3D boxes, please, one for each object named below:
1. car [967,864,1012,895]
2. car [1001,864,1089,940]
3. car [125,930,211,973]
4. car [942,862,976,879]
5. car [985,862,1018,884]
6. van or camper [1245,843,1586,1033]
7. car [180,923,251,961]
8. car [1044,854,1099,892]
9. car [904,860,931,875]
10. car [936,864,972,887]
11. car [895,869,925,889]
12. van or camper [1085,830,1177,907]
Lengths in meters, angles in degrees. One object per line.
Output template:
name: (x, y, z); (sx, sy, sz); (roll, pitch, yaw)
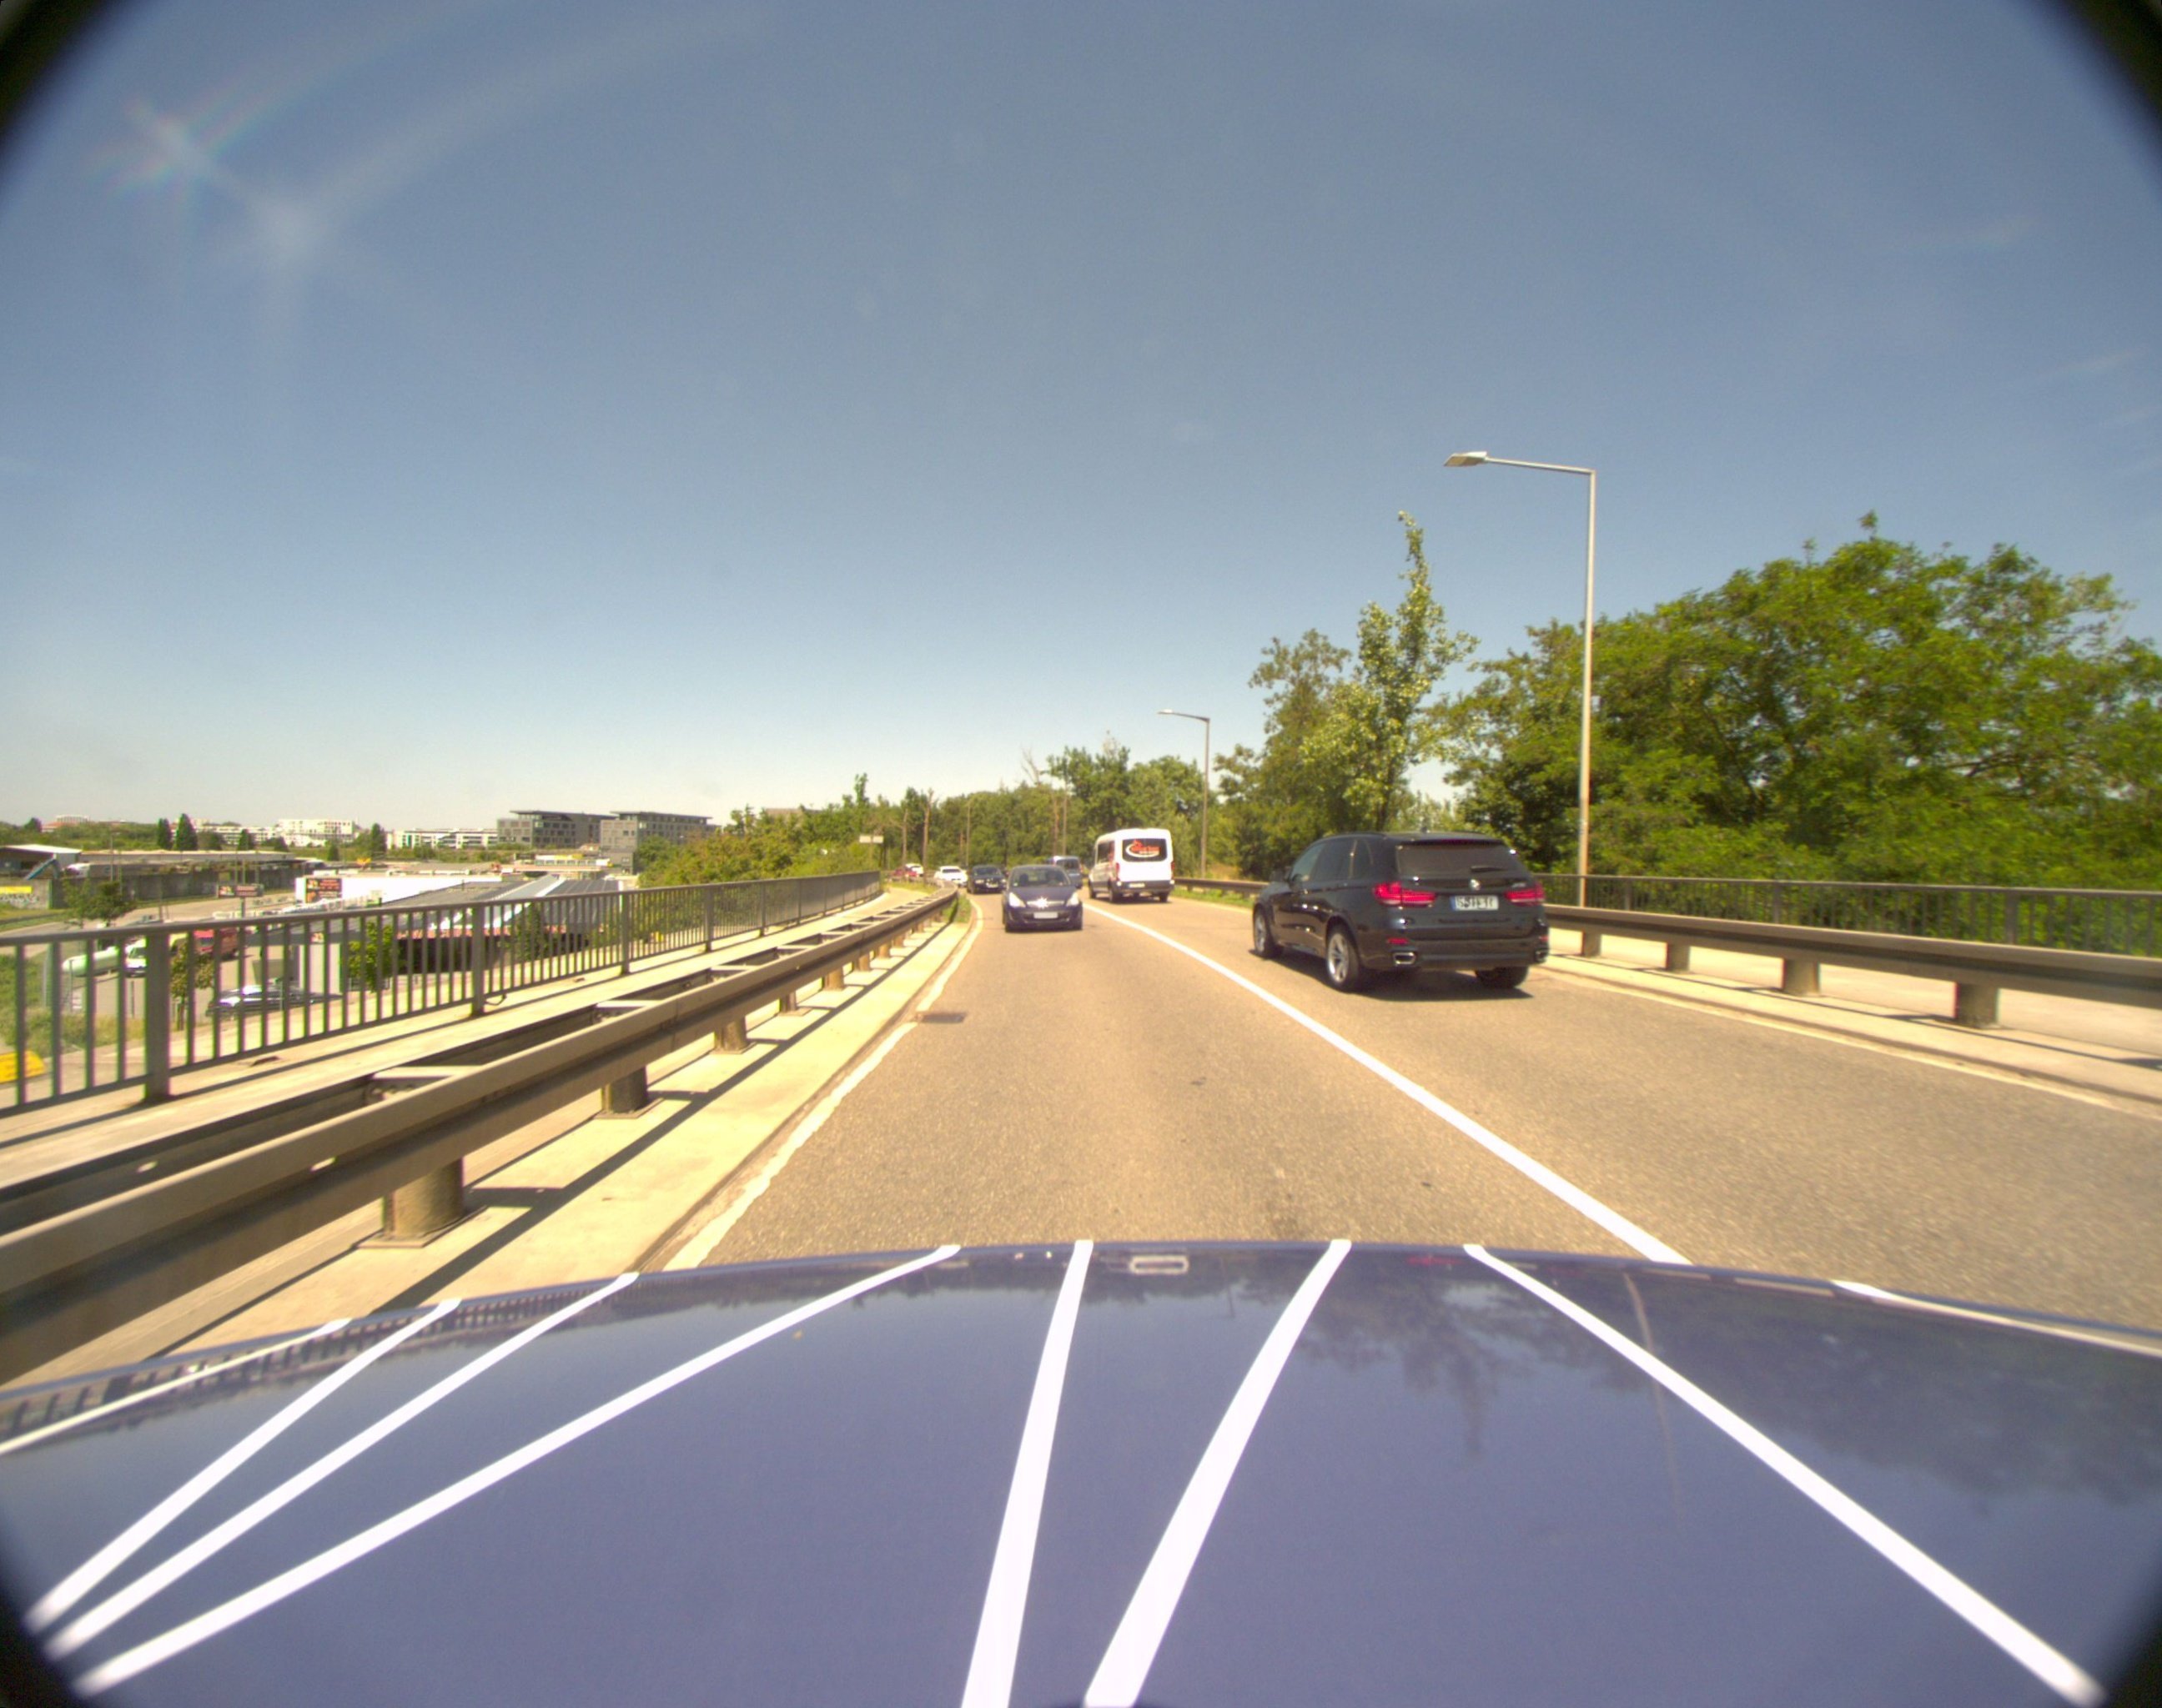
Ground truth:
car: (-4.671, 1.227, 38.189); (1.571, 1.408, 4.117); (-2, 0, -16)
car: (-0.958, 1.001, 17.590); (1.699, 1.459, 4.380); (-2, 0, -7)
car: (-64.636, 6.873, 53.915); (2.155, 2.338, 4.918); (-6, 2, -31)
car: (-10.864, 1.420, 67.381); (1.724, 1.419, 4.098); (-1, 0, -27)
car: (-5.897, 1.348, 55.865); (1.763, 1.434, 4.562); (-2, 0, -15)
van or camper: (3.620, 0.754, 9.413); (1.999, 1.750, 4.696); (0, 1, -2)
car: (-68.140, 6.906, 59.916); (2.155, 2.338, 4.918); (-6, 2, -31)
car: (-0.586, 0.957, 40.260); (1.763, 1.844, 4.269); (-2, 0, -17)
car: (-17.478, 1.442, 80.954); (1.754, 1.537, 4.384); (-1, 0, -26)
car: (-8.542, 1.436, 50.985); (1.819, 1.419, 3.710); (-2, 0, -18)
car: (-15.712, 2.253, 69.726); (1.904, 1.645, 4.249); (-1, 1, -23)
van or camper: (1.684, 0.501, 27.888); (2.055, 2.522, 5.879); (-1, 0, -9)
